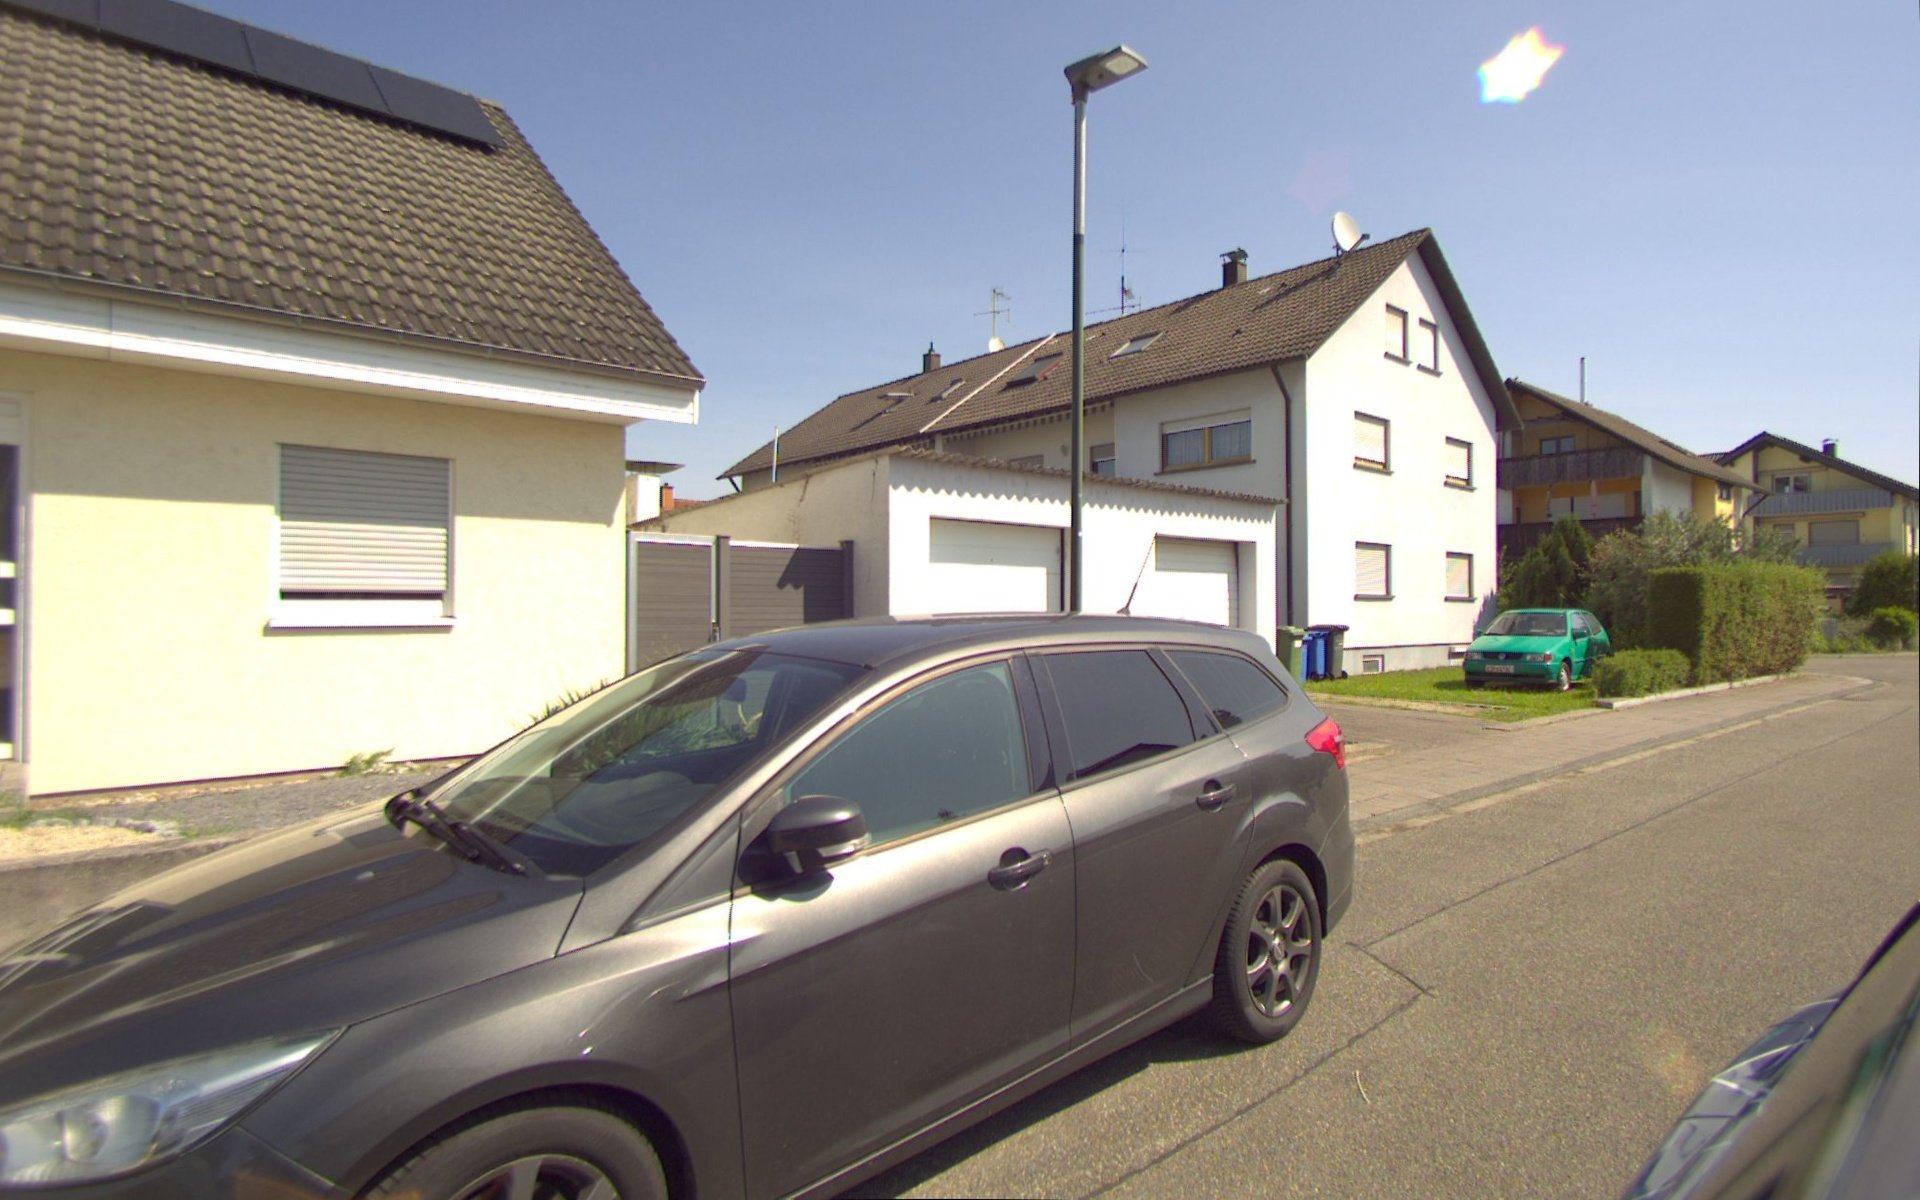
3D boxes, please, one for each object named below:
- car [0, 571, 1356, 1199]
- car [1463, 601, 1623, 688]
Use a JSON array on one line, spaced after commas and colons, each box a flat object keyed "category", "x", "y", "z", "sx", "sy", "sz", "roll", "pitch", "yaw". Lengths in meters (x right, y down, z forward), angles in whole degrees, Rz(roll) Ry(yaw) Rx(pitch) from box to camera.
[{"category": "car", "x": -0.484, "y": 0.758, "z": 3.173, "sx": 3.931, "sy": 1.498, "sz": 1.644, "roll": 1, "pitch": -2, "yaw": -42}, {"category": "car", "x": 10.358, "y": 0.721, "z": 17.902, "sx": 3.467, "sy": 1.376, "sz": 1.496, "roll": 0, "pitch": 0, "yaw": -43}]
